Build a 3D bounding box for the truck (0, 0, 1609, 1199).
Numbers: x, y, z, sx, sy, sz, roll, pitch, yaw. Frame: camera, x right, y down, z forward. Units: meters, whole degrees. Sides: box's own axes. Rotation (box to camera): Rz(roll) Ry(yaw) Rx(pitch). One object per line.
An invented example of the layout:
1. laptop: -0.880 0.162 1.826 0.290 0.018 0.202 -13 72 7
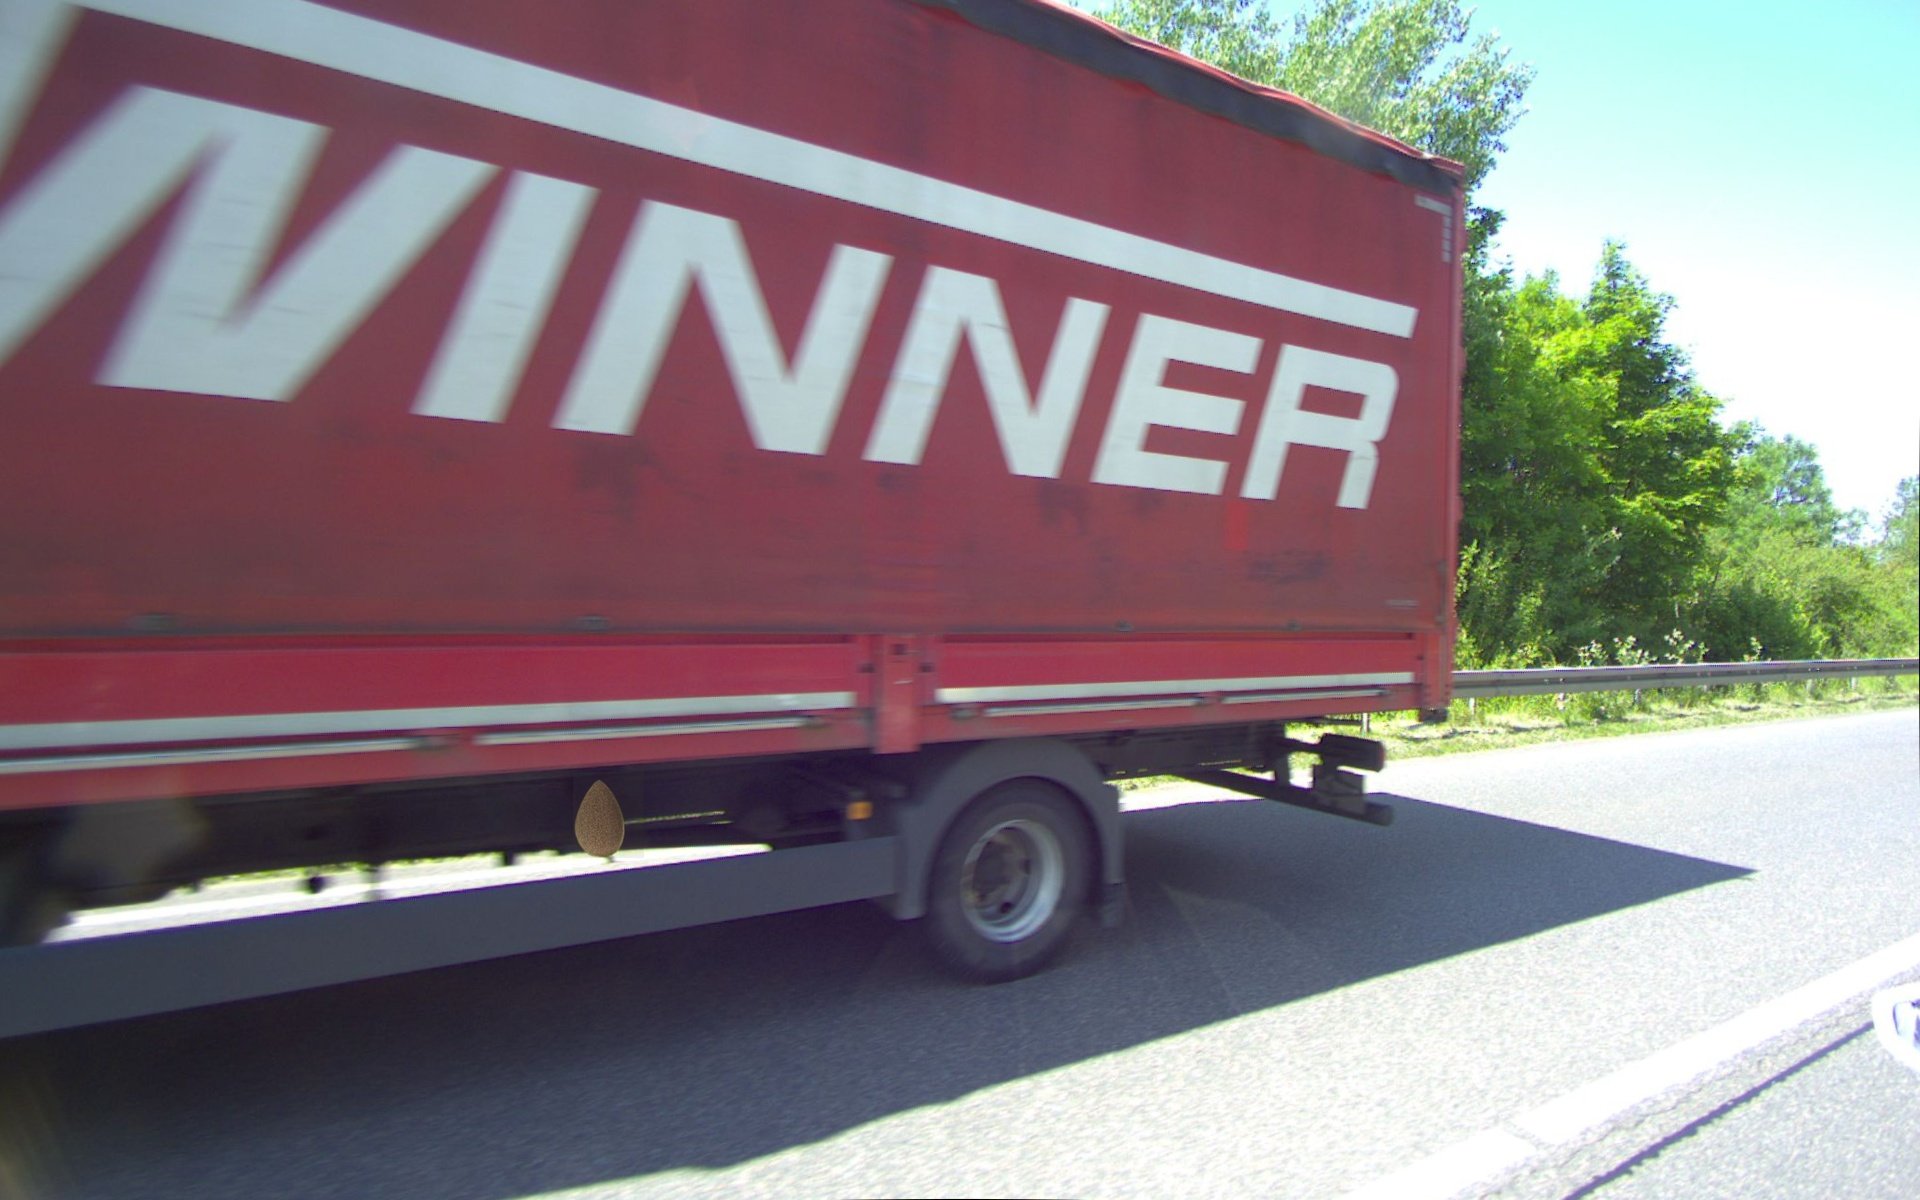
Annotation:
1. truck: -0.975 -0.461 4.689 8.905 3.749 3.175 1 1 -32
